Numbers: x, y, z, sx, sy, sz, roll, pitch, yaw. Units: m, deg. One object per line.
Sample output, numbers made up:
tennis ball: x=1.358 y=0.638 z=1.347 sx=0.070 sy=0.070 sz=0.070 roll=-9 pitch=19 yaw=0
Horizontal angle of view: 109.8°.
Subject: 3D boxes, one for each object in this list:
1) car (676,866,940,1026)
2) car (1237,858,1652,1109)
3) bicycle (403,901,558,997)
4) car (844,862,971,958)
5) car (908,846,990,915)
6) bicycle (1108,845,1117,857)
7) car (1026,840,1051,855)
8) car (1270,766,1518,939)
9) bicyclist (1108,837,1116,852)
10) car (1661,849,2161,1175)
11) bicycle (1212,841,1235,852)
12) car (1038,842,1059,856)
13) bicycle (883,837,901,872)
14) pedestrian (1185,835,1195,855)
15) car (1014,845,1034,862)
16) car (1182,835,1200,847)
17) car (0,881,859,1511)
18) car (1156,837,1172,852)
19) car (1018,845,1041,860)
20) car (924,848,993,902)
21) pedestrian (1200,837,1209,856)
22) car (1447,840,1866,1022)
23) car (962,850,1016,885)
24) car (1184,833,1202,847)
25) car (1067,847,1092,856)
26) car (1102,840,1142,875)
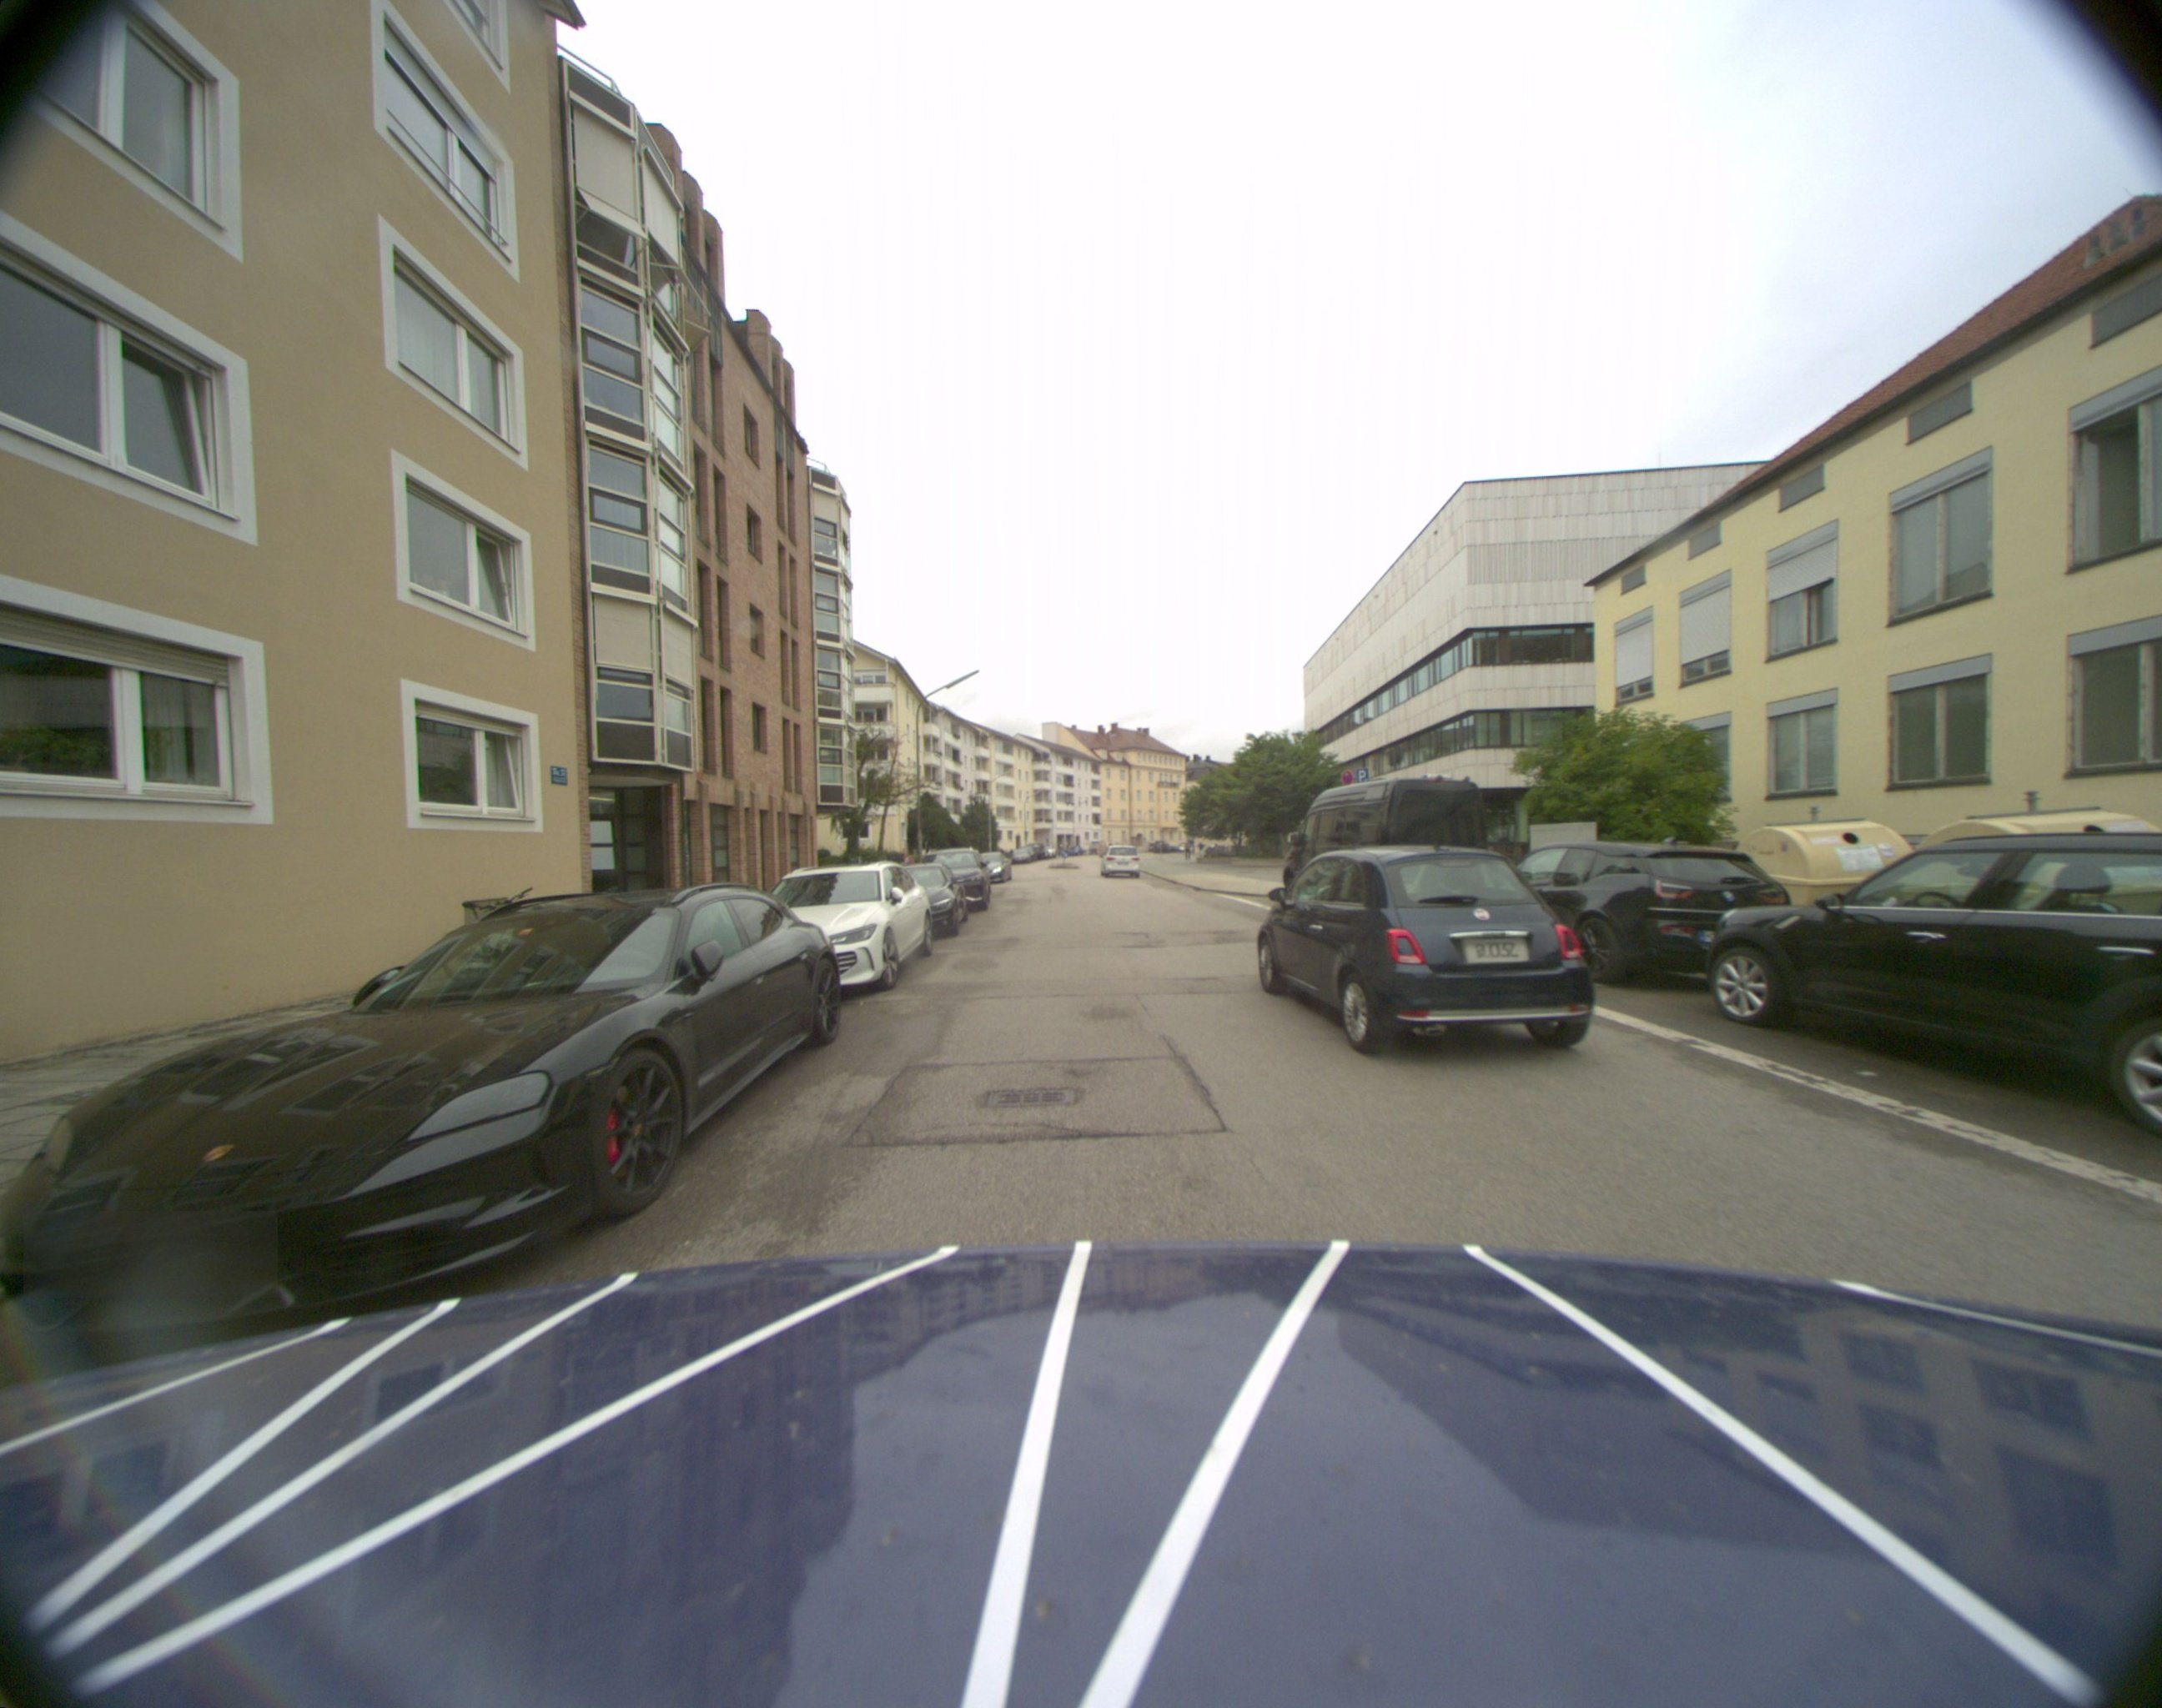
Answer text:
car: x=-3.141 y=0.938 z=9.984 sx=1.859 sy=1.406 sz=5.012 roll=-1 pitch=1 yaw=-3
car: x=2.662 y=0.814 z=6.602 sx=1.666 sy=1.466 sz=3.706 roll=0 pitch=1 yaw=-3
bicycle: x=-7.889 y=1.206 z=10.105 sx=0.678 sy=1.027 sz=1.752 roll=0 pitch=1 yaw=-1
car: x=-3.318 y=0.975 z=15.406 sx=1.762 sy=1.358 sz=4.777 roll=-5 pitch=1 yaw=-5
car: x=-3.462 y=0.613 z=20.707 sx=1.883 sy=1.636 sz=4.640 roll=-1 pitch=1 yaw=-6
bicycle: x=2.753 y=-0.257 z=67.212 sx=0.707 sy=1.042 sz=1.463 roll=0 pitch=0 yaw=-2
car: x=-4.619 y=-0.683 z=83.126 sx=1.997 sy=1.587 sz=4.001 roll=-1 pitch=1 yaw=6
car: x=6.023 y=-0.065 z=15.829 sx=2.219 sy=2.837 sz=6.193 roll=2 pitch=1 yaw=-3
bicyclist: x=2.754 y=-0.856 z=67.098 sx=0.618 sy=1.343 sz=0.832 roll=-1 pitch=2 yaw=-2
car: x=6.255 y=0.807 z=4.767 sx=1.918 sy=1.578 sz=4.352 roll=3 pitch=0 yaw=2
bicycle: x=14.650 y=-0.770 z=77.980 sx=2.146 sy=0.986 sz=0.798 roll=-3 pitch=1 yaw=-12
car: x=-3.918 y=-0.658 z=91.223 sx=1.998 sy=1.630 sz=4.001 roll=-1 pitch=1 yaw=5
bicycle: x=-11.315 y=0.014 z=45.502 sx=0.653 sy=2.002 sz=1.992 roll=-1 pitch=1 yaw=-2
pedestrian: x=9.851 y=-0.790 z=68.968 sx=0.787 sy=1.776 sz=0.516 roll=-1 pitch=2 yaw=-2
car: x=-5.492 y=-0.055 z=73.354 sx=1.755 sy=1.483 sz=3.998 roll=-1 pitch=1 yaw=-2
car: x=18.150 y=-2.143 z=125.480 sx=1.890 sy=2.002 sz=4.006 roll=-1 pitch=1 yaw=24
car: x=-3.004 y=1.025 z=4.586 sx=1.960 sy=1.406 sz=5.111 roll=-1 pitch=1 yaw=-2
car: x=11.863 y=-1.330 z=108.229 sx=1.891 sy=2.002 sz=4.003 roll=-1 pitch=1 yaw=13
car: x=-5.269 y=-0.181 z=78.454 sx=1.823 sy=1.467 sz=4.001 roll=-1 pitch=1 yaw=4
car: x=-3.992 y=0.633 z=25.402 sx=1.883 sy=1.582 sz=4.505 roll=-1 pitch=1 yaw=-4
pedestrian: x=11.496 y=-0.704 z=70.759 sx=0.787 sy=1.776 sz=0.516 roll=-1 pitch=2 yaw=-2
car: x=6.410 y=0.691 z=9.270 sx=1.884 sy=1.627 sz=4.349 roll=2 pitch=1 yaw=3
car: x=-4.290 y=0.591 z=36.041 sx=1.882 sy=1.428 sz=4.333 roll=-4 pitch=1 yaw=1
car: x=19.360 y=-2.511 z=131.326 sx=1.890 sy=2.343 sz=4.006 roll=-1 pitch=1 yaw=24
car: x=-0.199 y=-0.349 z=107.715 sx=1.680 sy=1.281 sz=4.007 roll=0 pitch=1 yaw=30
car: x=2.056 y=0.136 z=39.275 sx=1.797 sy=1.664 sz=4.148 roll=0 pitch=1 yaw=-1
